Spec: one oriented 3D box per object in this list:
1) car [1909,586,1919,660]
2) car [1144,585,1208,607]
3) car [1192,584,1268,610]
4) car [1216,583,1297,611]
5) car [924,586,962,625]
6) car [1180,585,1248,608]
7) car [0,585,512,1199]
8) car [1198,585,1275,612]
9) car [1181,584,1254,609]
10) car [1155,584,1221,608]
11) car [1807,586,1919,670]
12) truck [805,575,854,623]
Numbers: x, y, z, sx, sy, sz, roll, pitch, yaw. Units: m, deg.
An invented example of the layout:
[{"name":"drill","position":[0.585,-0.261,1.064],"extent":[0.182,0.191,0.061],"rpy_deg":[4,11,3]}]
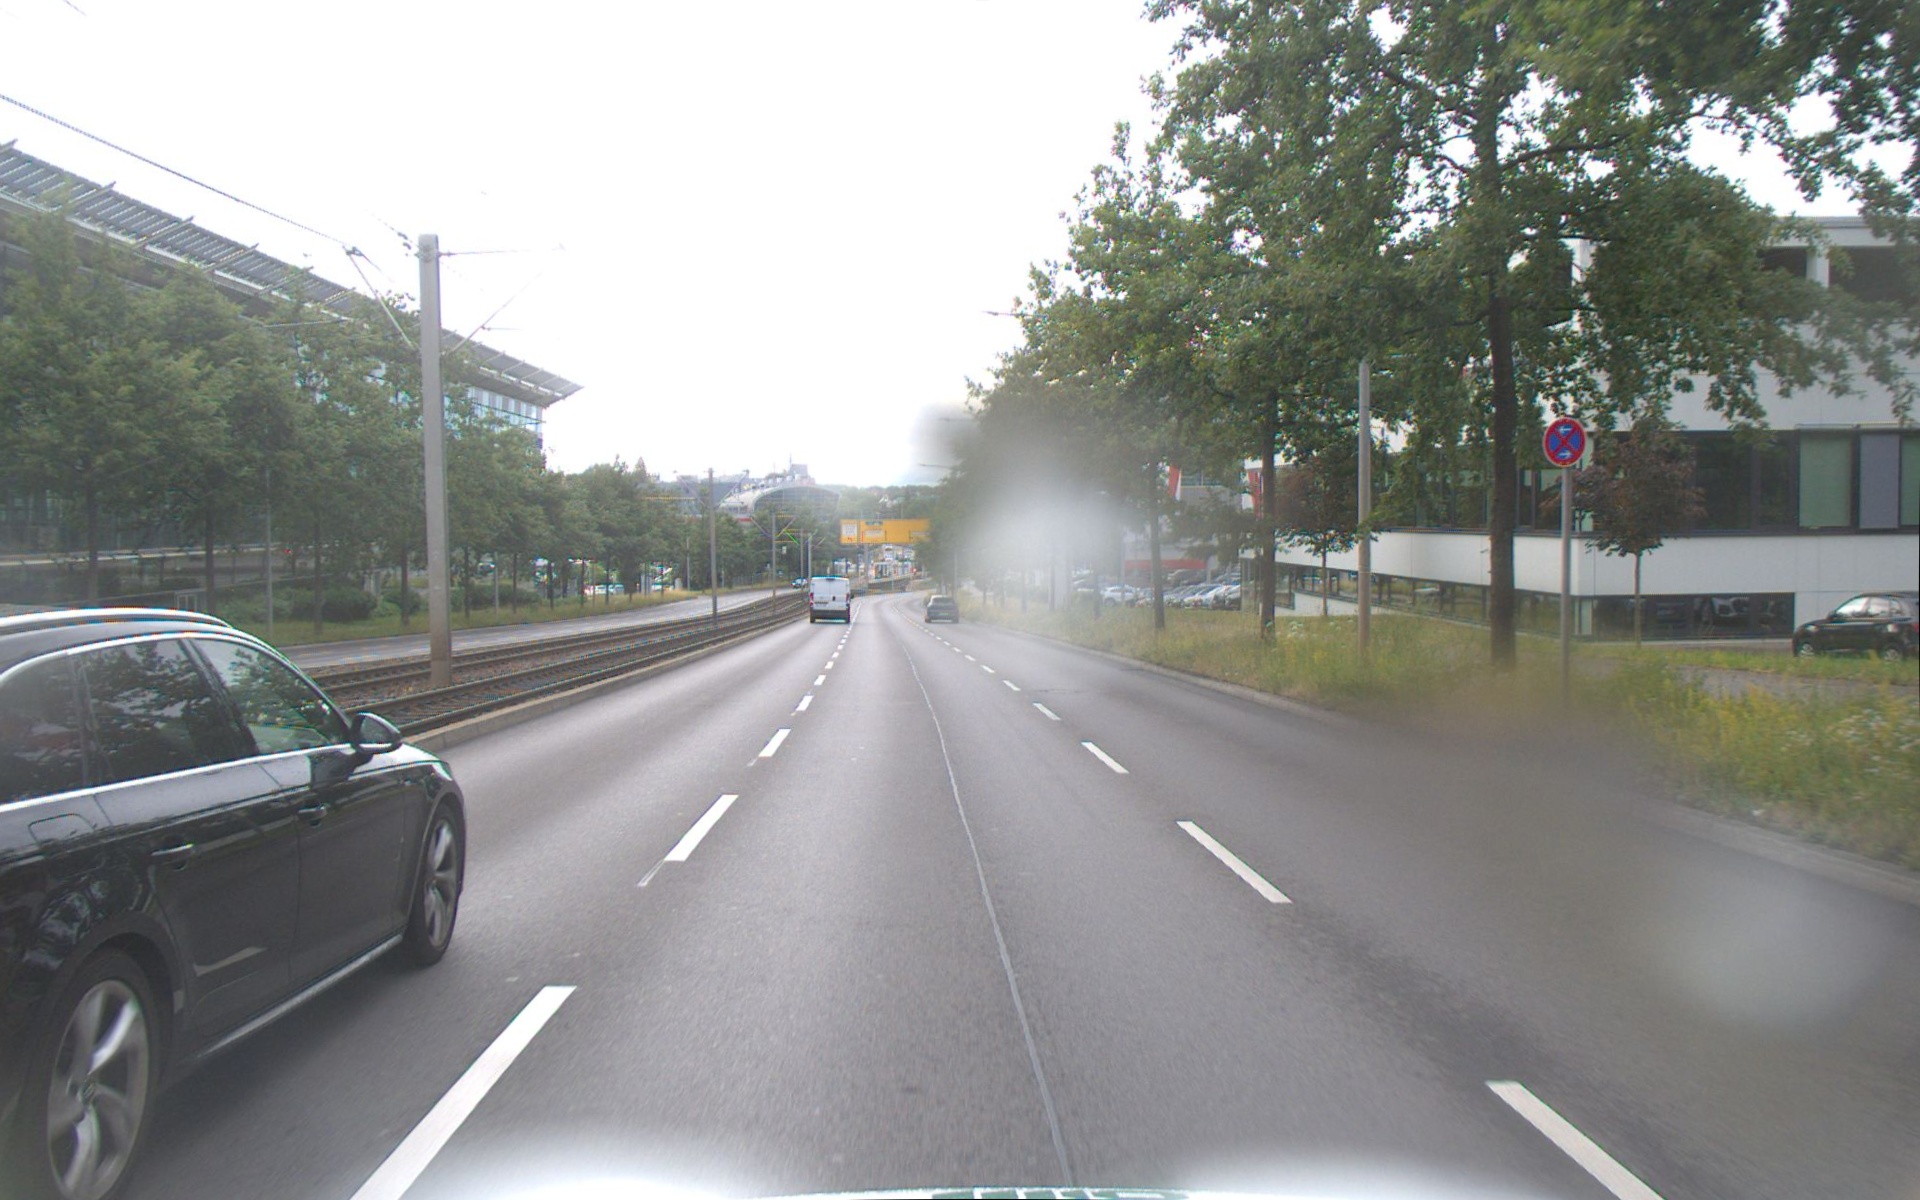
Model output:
[{"name":"car","position":[21.325,0.508,33.494],"extent":[1.825,1.572,4.007],"rpy_deg":[1,0,-1]},{"name":"car","position":[13.975,-0.272,107.220],"extent":[3.904,1.378,2.000],"rpy_deg":[1,0,2]},{"name":"car","position":[14.975,-0.185,91.938],"extent":[3.904,1.378,2.000],"rpy_deg":[1,0,2]},{"name":"car","position":[15.419,-0.151,86.169],"extent":[3.904,1.378,2.000],"rpy_deg":[1,0,2]},{"name":"car","position":[-0.941,0.270,89.606],"extent":[1.953,2.049,3.933],"rpy_deg":[1,0,-1]},{"name":"car","position":[15.521,-0.218,101.328],"extent":[3.904,1.378,2.000],"rpy_deg":[1,0,2]},{"name":"car","position":[-2.790,0.710,4.990],"extent":[1.754,1.459,4.826],"rpy_deg":[0,1,-3]},{"name":"car","position":[14.911,-0.073,89.342],"extent":[3.904,1.378,2.000],"rpy_deg":[1,0,2]},{"name":"car","position":[14.762,-0.201,94.790],"extent":[3.904,1.378,2.000],"rpy_deg":[1,0,2]},{"name":"car","position":[14.360,-0.252,104.230],"extent":[3.904,1.378,2.000],"rpy_deg":[1,0,2]},{"name":"car","position":[18.956,0.535,33.147],"extent":[1.825,1.572,4.007],"rpy_deg":[1,0,-1]},{"name":"truck","position":[-6.608,-0.065,84.219],"extent":[2.313,2.301,5.302],"rpy_deg":[1,0,-3]}]
